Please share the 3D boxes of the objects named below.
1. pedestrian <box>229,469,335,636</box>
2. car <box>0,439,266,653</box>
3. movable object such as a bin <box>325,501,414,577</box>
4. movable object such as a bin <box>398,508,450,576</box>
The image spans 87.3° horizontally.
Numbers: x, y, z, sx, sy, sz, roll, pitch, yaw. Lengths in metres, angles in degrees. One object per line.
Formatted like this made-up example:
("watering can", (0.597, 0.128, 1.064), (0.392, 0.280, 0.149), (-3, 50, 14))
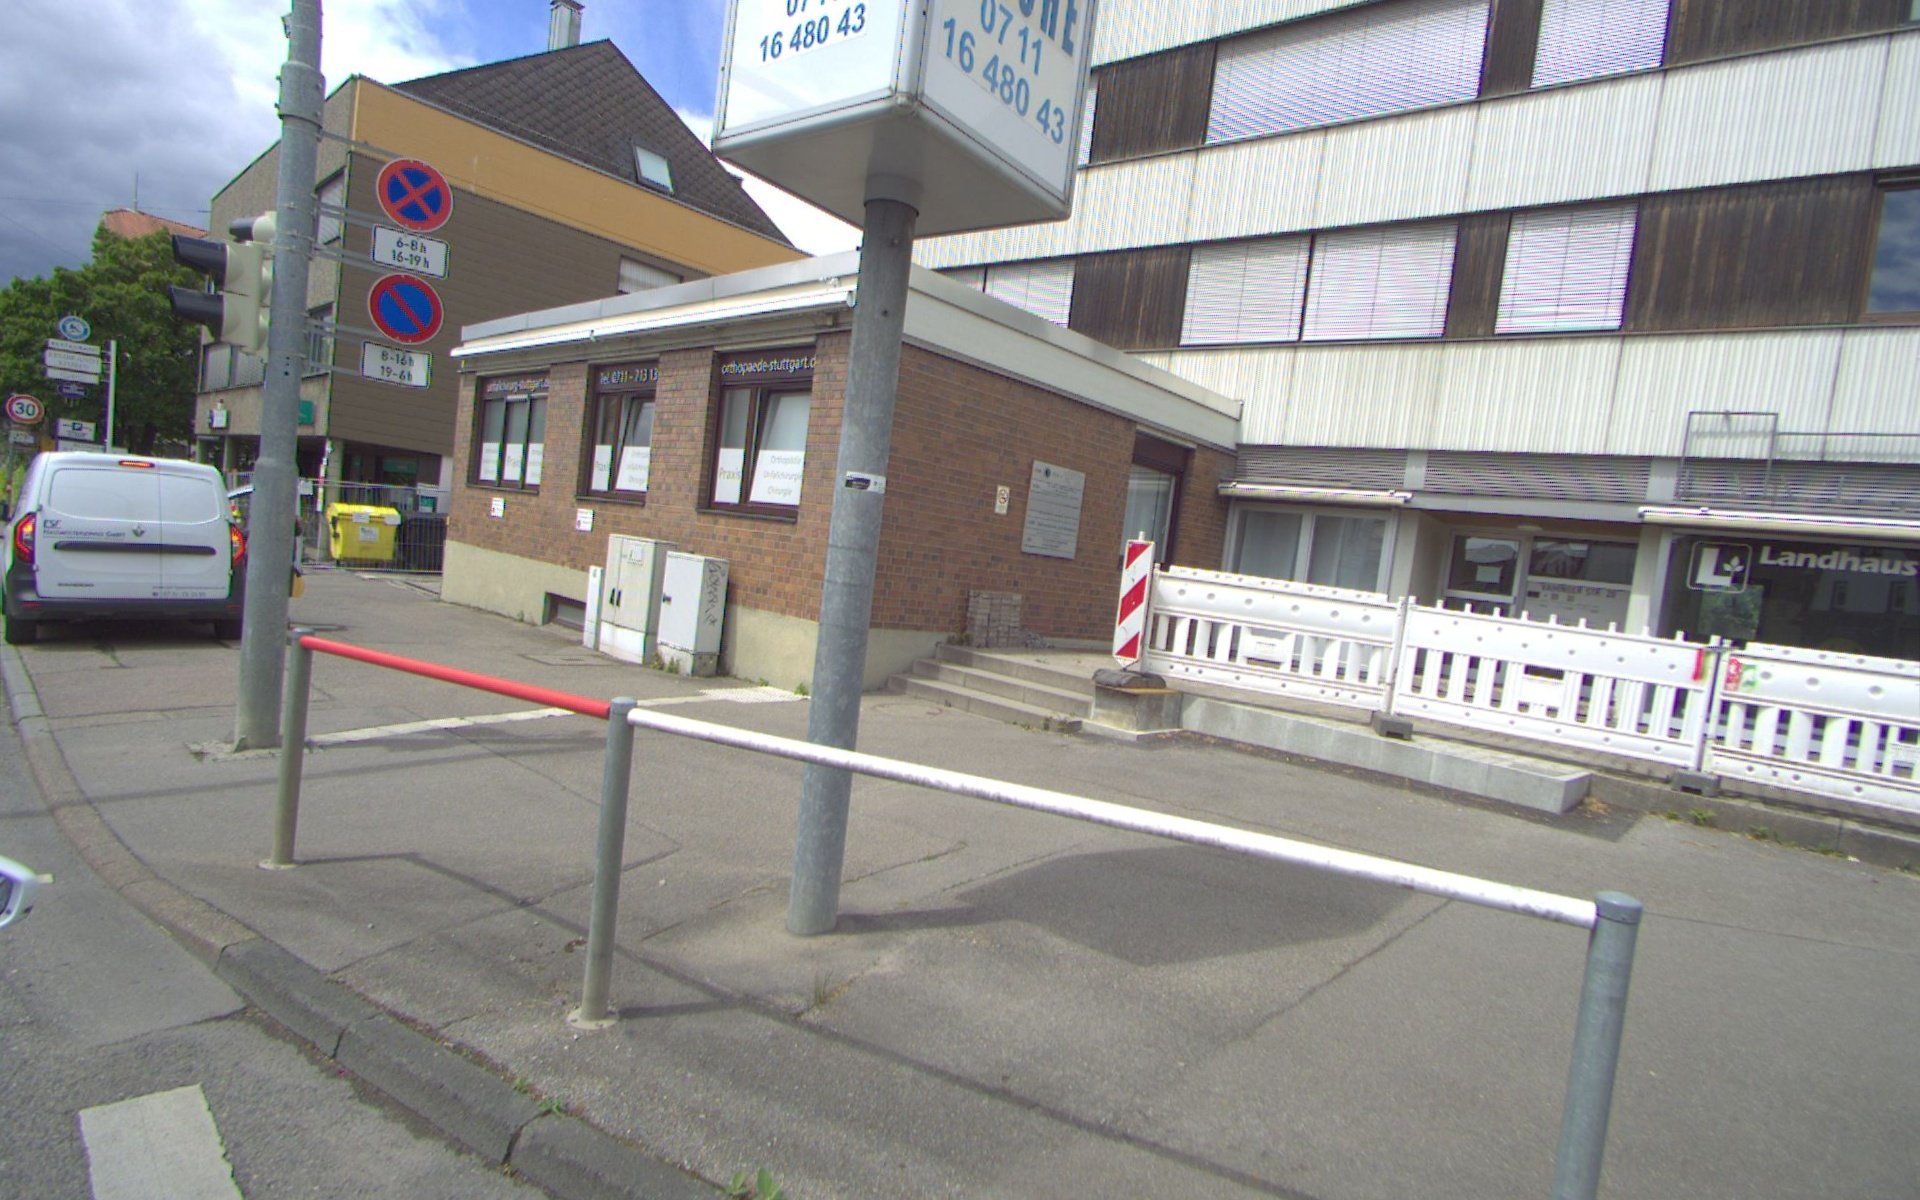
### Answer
("pedestrian", (-7.795, -0.537, 11.567), (0.642, 1.828, 0.840), (8, 4, 43))
("car", (-9.088, -0.626, 10.815), (1.903, 1.819, 4.432), (0, 5, -45))
("movable object such as a bin", (-13.521, -1.389, 23.044), (1.476, 1.513, 1.062), (4, 5, -43))
("movable object such as a bin", (-12.697, -1.370, 23.818), (0.776, 1.460, 1.005), (4, 5, -43))
